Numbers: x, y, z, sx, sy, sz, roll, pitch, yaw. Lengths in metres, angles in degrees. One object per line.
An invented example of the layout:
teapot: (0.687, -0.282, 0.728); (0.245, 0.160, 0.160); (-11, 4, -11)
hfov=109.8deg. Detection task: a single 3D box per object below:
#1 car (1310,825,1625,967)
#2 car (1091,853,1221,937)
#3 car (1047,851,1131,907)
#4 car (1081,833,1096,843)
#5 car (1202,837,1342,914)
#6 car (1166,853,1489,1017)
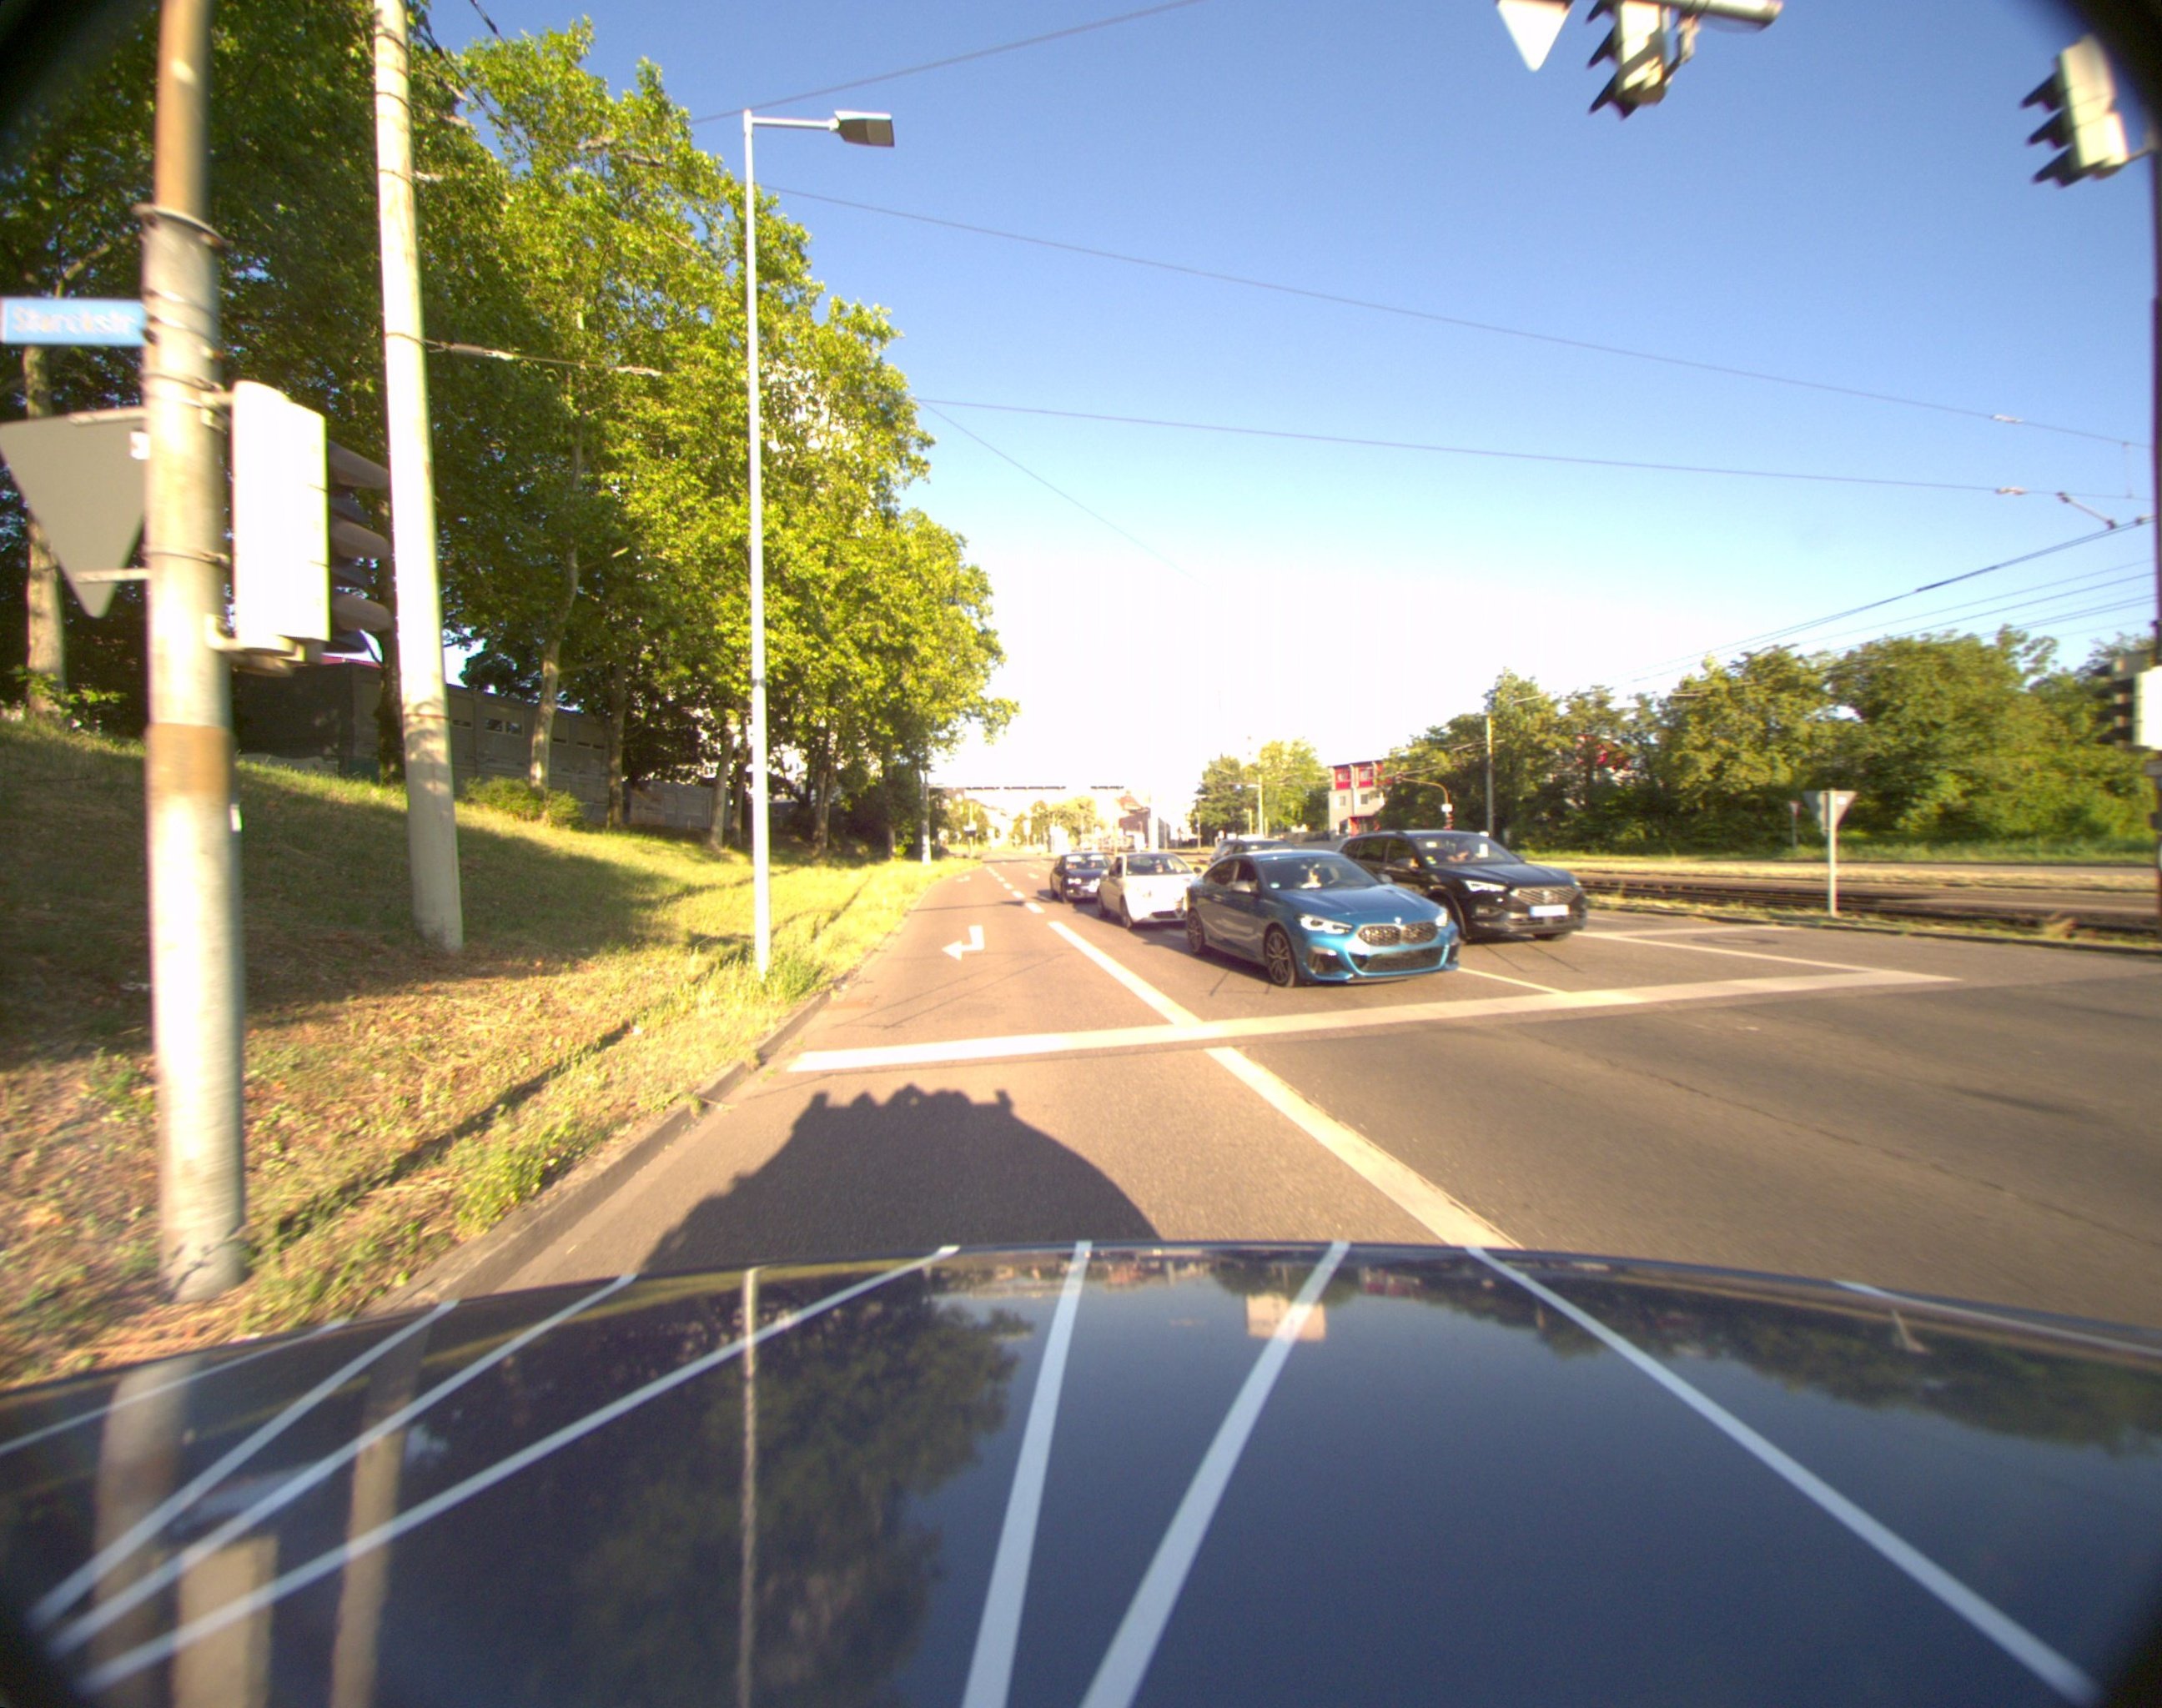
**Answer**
car: (5.502, 0.483, 11.653); (1.922, 1.672, 4.597); (-2, 1, -10)
car: (1.399, 0.738, 15.723); (1.666, 1.422, 3.920); (-2, 1, -10)
car: (0.143, 0.661, 22.589); (1.783, 1.422, 3.920); (-2, 1, -10)
car: (1.673, -3.524, 168.001); (1.995, 2.002, 4.005); (-2, 2, 24)
car: (4.675, 0.451, 19.381); (1.921, 1.639, 4.598); (-2, 1, -6)
car: (2.600, 0.740, 9.344); (1.790, 1.409, 4.508); (-2, 1, -11)
